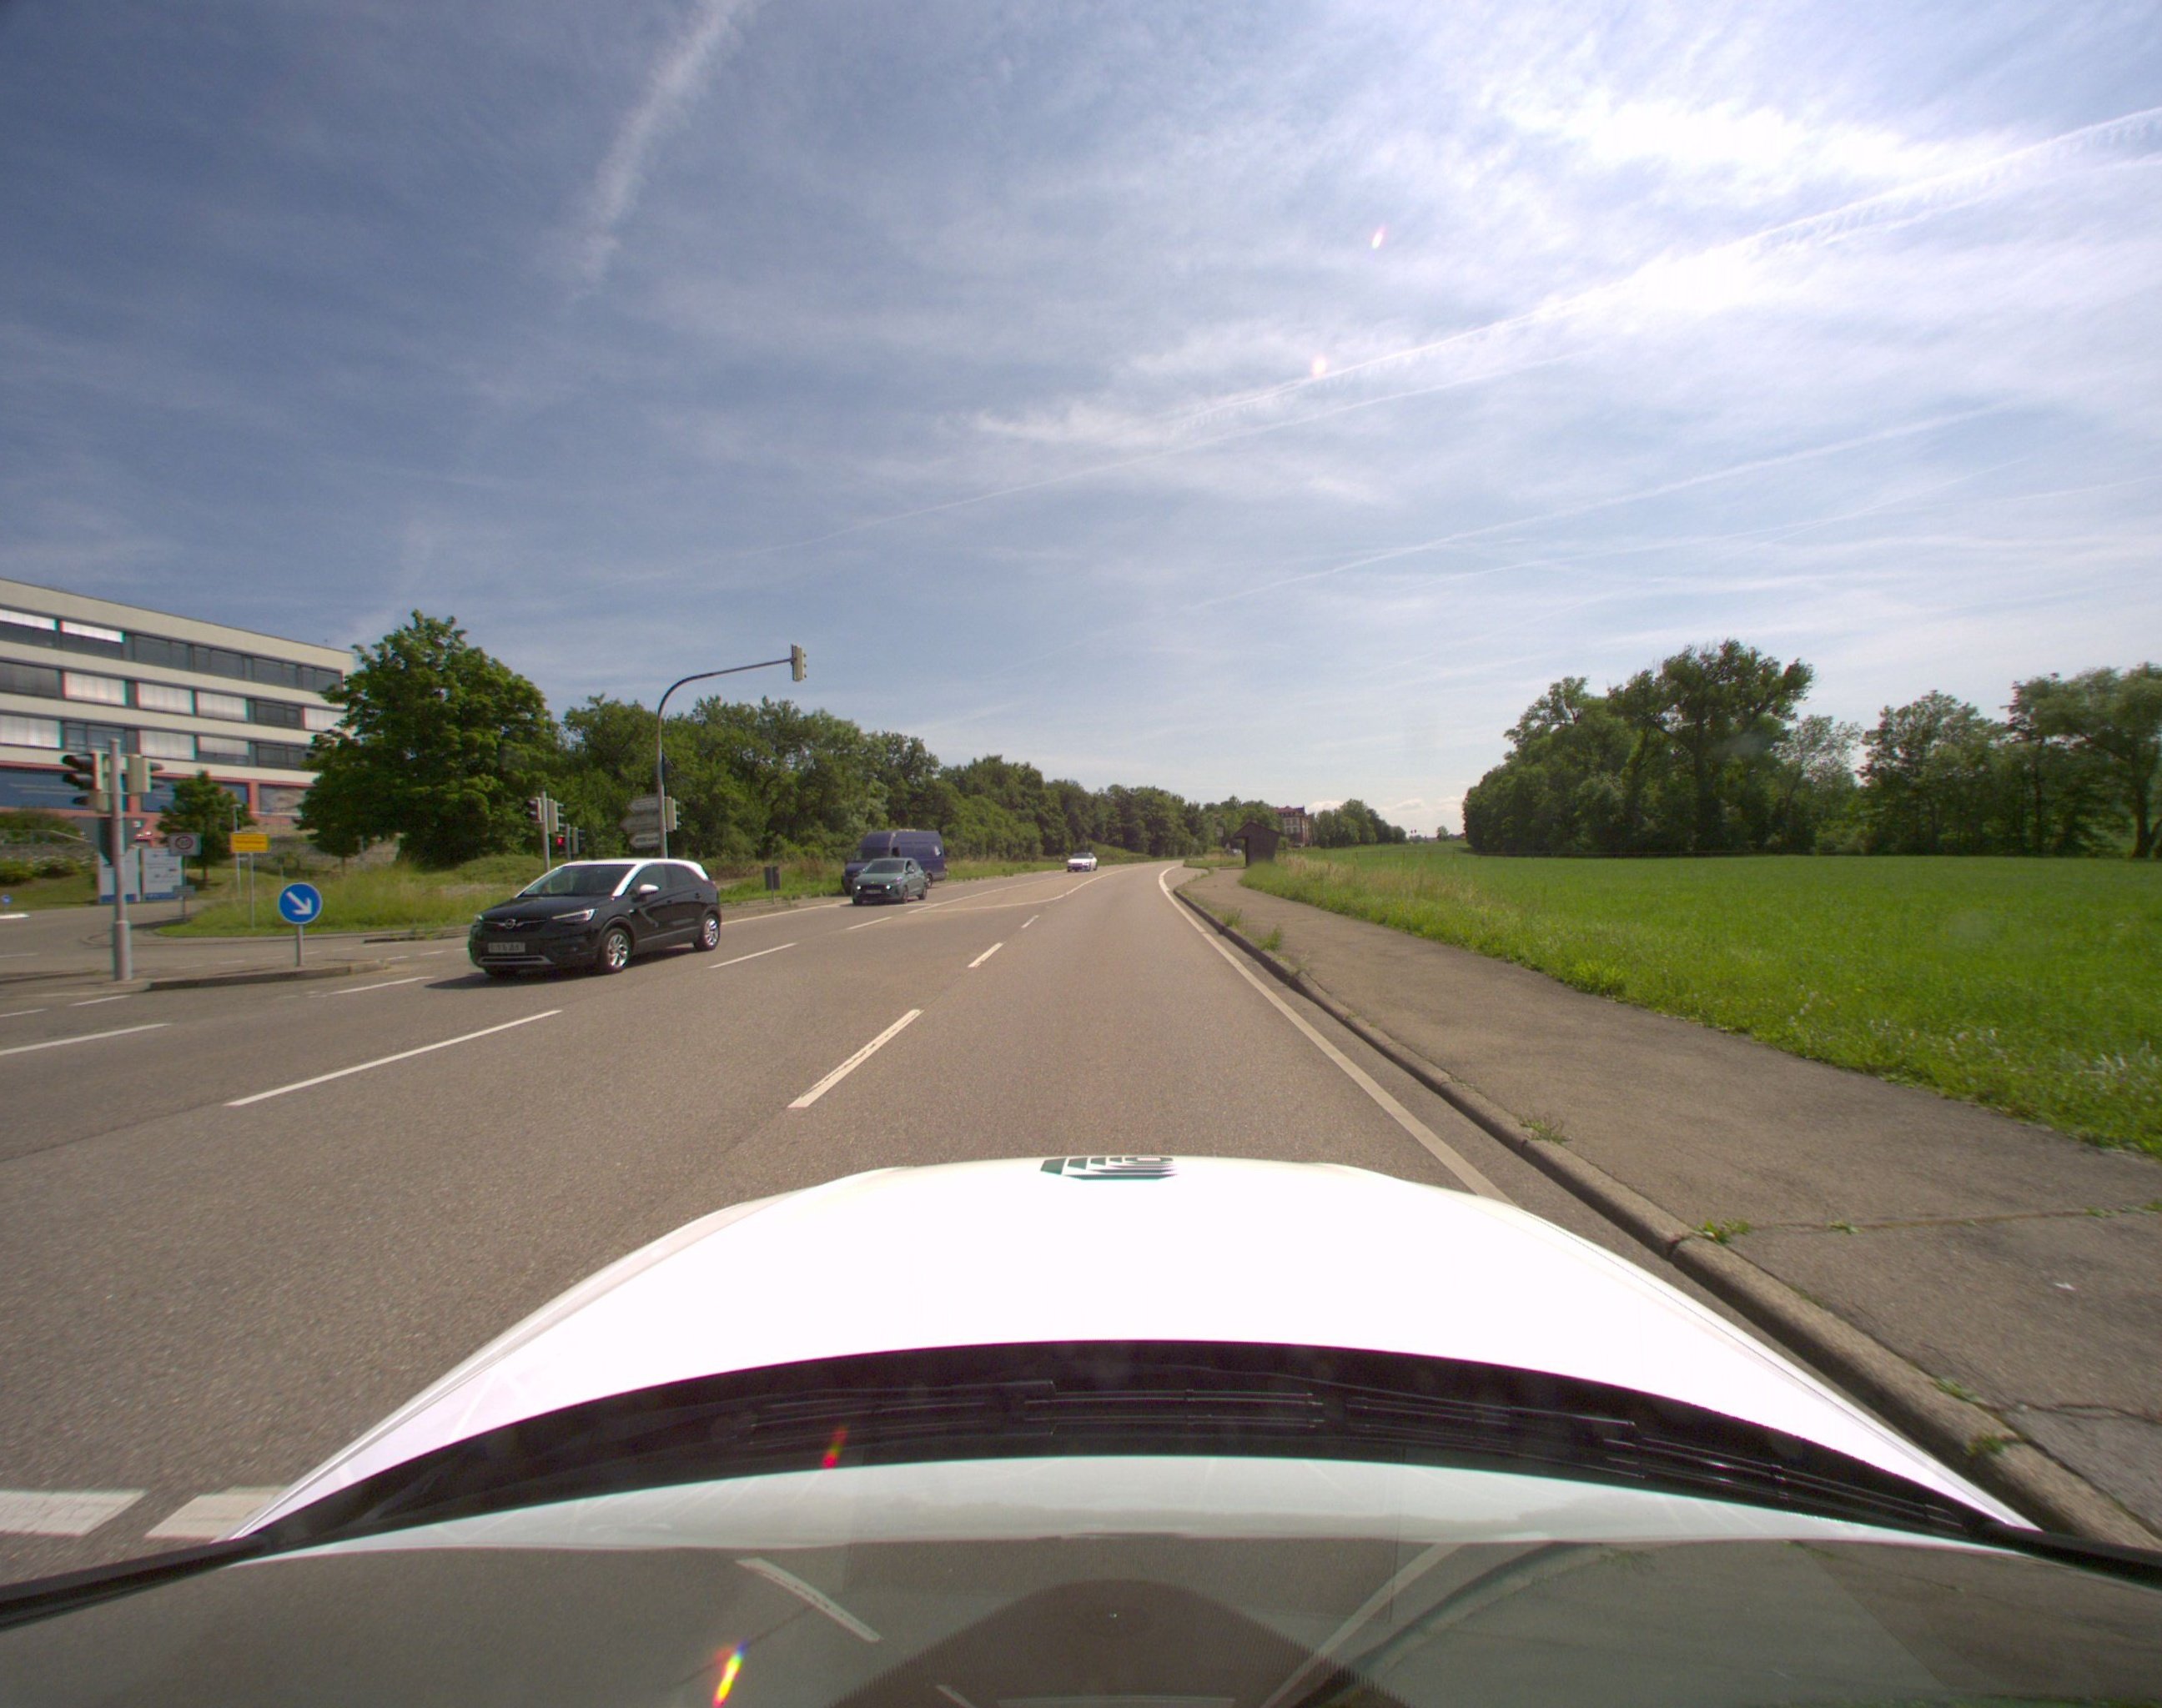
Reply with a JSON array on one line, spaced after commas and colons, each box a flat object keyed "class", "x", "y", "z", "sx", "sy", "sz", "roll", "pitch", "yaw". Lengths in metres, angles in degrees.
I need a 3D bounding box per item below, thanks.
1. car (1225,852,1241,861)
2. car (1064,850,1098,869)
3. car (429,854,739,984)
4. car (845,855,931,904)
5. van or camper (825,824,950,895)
[{"class": "car", "x": 27.633, "y": 0.439, "z": 148.077, "sx": 1.976, "sy": 1.574, "sz": 4.022, "roll": -2, "pitch": 0, "yaw": 22}, {"class": "car", "x": 0.035, "y": 0.432, "z": 67.837, "sx": 1.925, "sy": 1.548, "sz": 4.641, "roll": -1, "pitch": 0, "yaw": 11}, {"class": "car", "x": -7.060, "y": 0.812, "z": 12.220, "sx": 1.967, "sy": 1.562, "sz": 4.190, "roll": -1, "pitch": 0, "yaw": 1}, {"class": "car", "x": -6.353, "y": 0.804, "z": 27.179, "sx": 1.699, "sy": 1.483, "sz": 3.836, "roll": -1, "pitch": 0, "yaw": 4}, {"class": "van or camper", "x": -8.636, "y": 0.133, "z": 37.352, "sx": 2.223, "sy": 2.913, "sz": 7.277, "roll": -2, "pitch": 1, "yaw": 15}]
